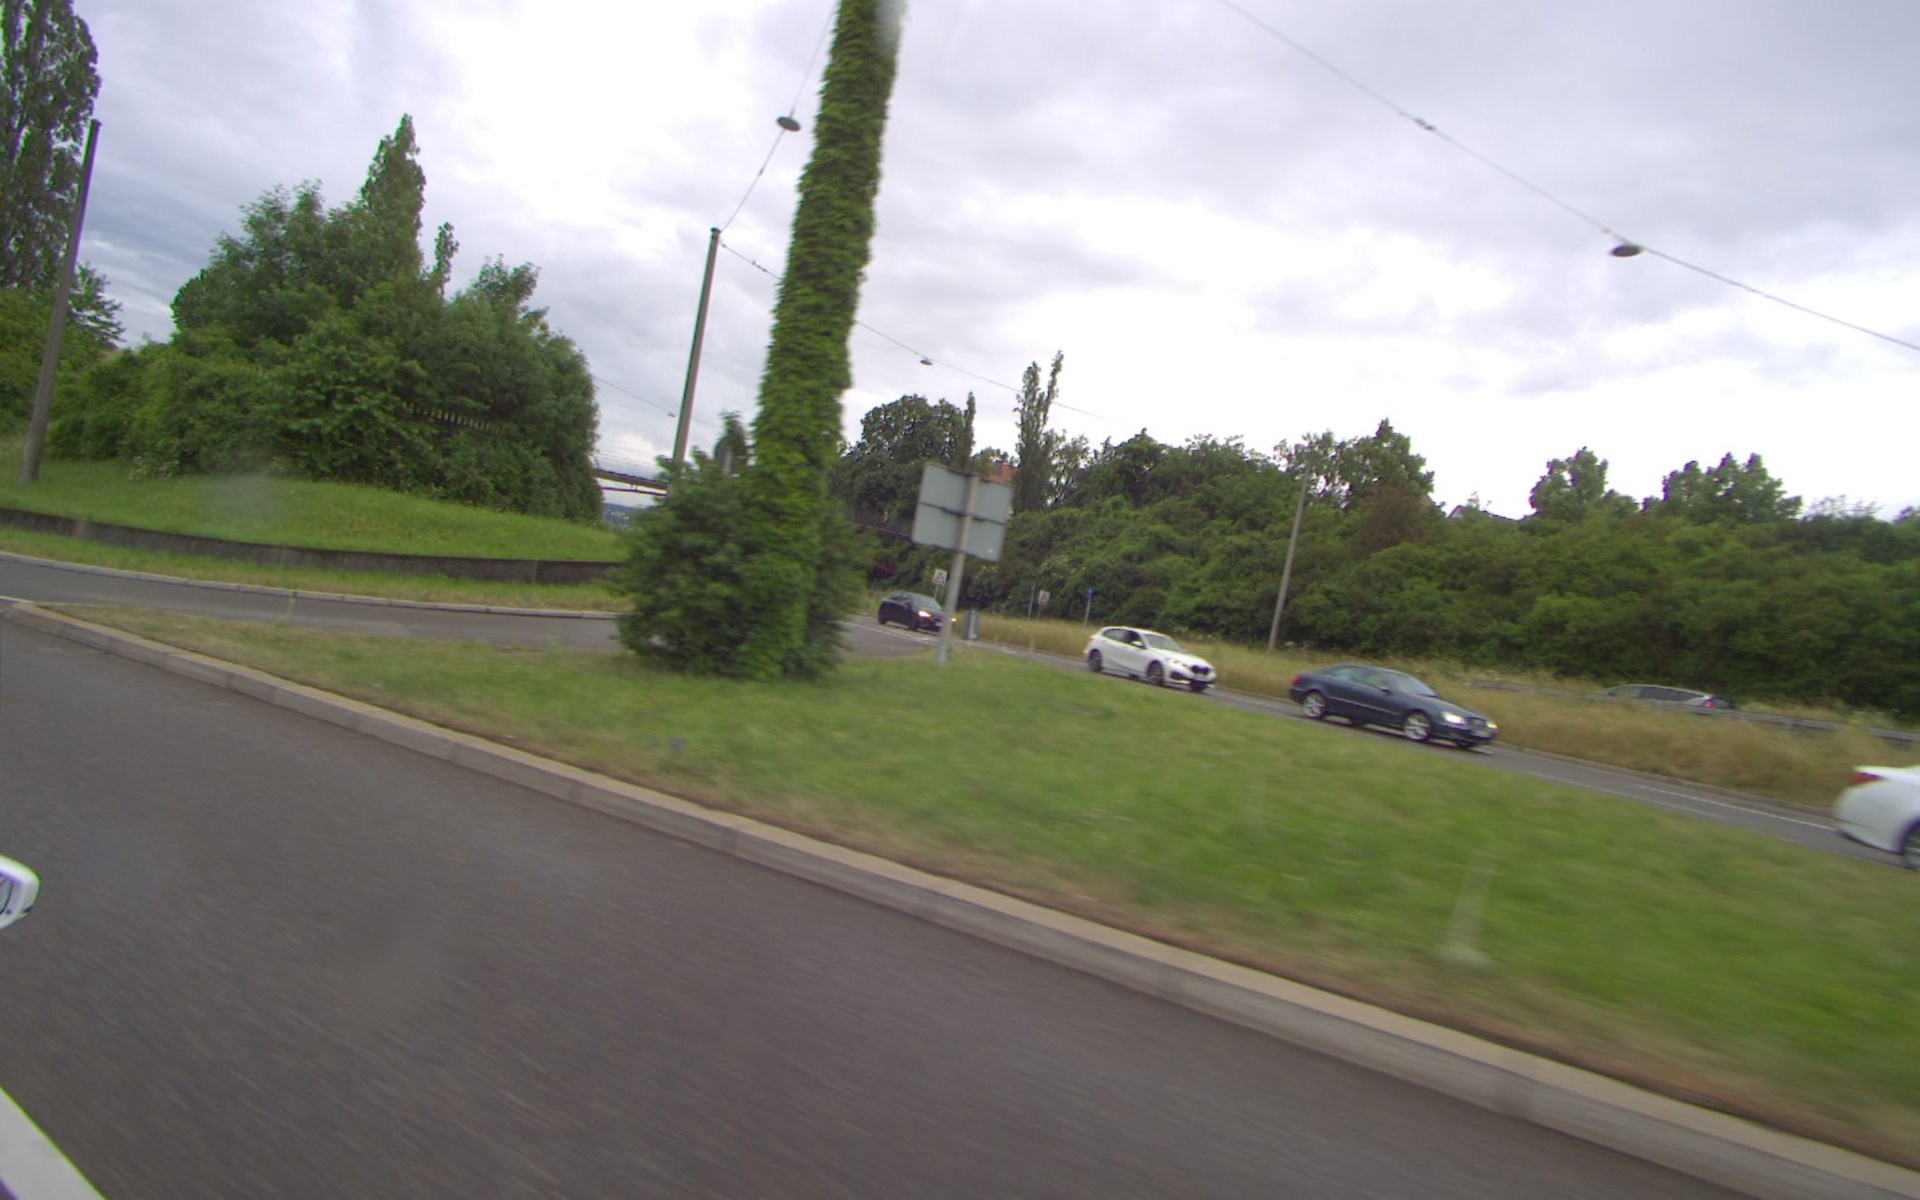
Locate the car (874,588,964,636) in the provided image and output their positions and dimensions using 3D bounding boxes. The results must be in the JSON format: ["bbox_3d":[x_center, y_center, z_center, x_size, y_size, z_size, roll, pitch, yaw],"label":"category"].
[{"bbox_3d":[-1.643,0.434,39.132,1.659,1.430,3.884,9,-1,-32],"label":"car"}]

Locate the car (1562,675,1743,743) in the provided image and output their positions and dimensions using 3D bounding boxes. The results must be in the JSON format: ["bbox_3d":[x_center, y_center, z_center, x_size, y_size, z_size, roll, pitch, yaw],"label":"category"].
[{"bbox_3d":[21.306,3.329,31.162,1.763,1.364,4.202,10,-3,-25],"label":"car"}]

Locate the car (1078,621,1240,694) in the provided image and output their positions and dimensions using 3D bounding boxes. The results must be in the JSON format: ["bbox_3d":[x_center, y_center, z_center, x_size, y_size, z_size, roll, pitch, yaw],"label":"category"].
[{"bbox_3d":[5.559,1.587,28.556,2.055,1.445,4.236,9,-2,-32],"label":"car"}]

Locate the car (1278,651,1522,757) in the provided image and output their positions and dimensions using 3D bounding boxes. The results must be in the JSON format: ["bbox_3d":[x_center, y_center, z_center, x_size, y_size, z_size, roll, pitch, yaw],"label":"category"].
[{"bbox_3d":[9.302,2.160,21.694,1.824,1.367,4.517,9,0,-30],"label":"car"}]

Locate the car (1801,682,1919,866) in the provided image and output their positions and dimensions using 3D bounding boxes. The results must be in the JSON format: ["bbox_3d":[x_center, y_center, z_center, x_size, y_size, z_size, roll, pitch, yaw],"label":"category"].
[{"bbox_3d":[11.099,2.080,8.994,2.046,1.668,4.961,7,4,-20],"label":"car"}]
